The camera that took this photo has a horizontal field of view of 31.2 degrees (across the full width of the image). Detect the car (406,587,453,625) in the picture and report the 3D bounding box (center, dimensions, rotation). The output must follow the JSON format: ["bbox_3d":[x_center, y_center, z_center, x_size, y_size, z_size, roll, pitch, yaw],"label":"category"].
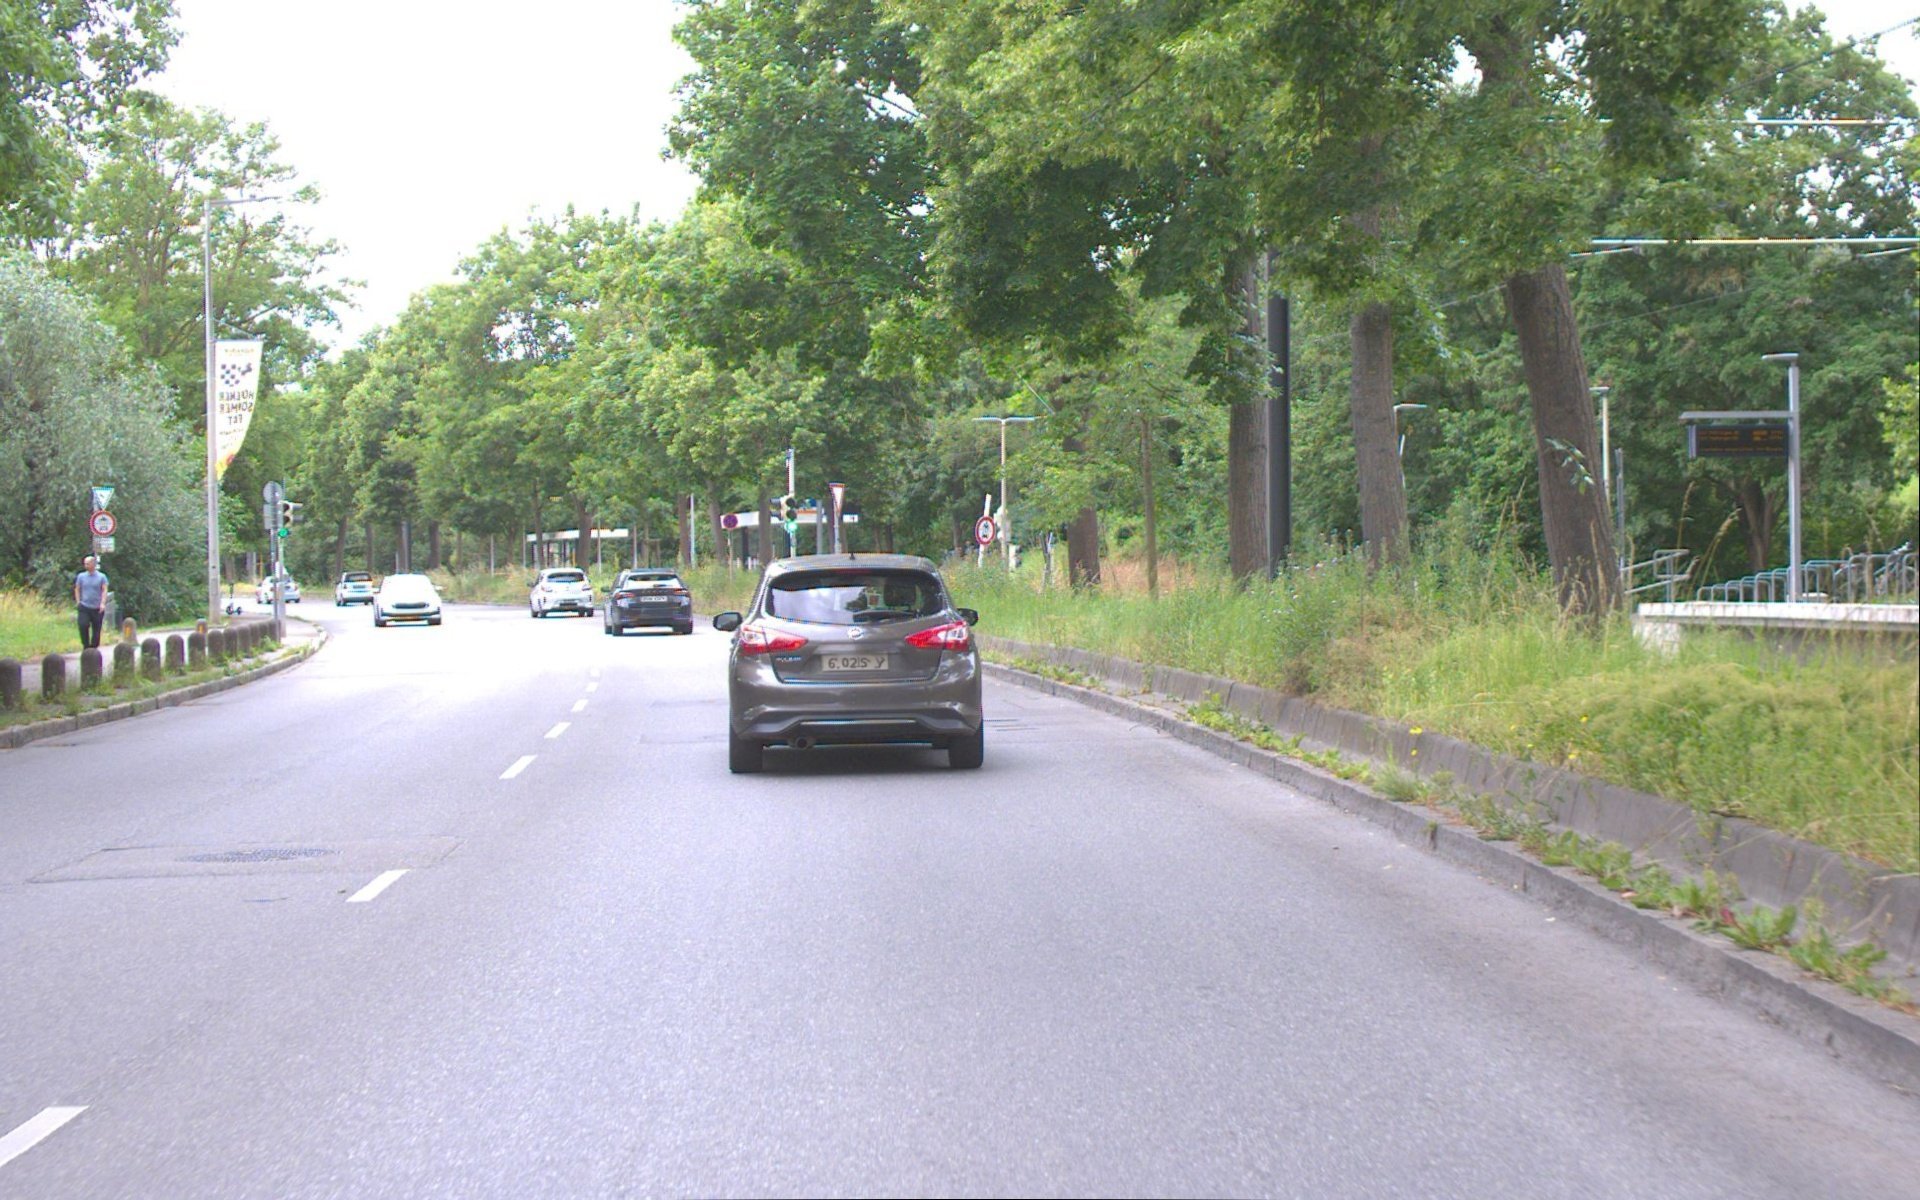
[{"bbox_3d":[-21.723,0.235,140.971,1.775,1.467,4.001,1,0,-7],"label":"car"}]

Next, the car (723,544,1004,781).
[{"bbox_3d":[-0.785,0.387,25.127,1.816,1.503,4.001,-2,2,-4],"label":"car"}]

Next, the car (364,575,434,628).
[{"bbox_3d":[-16.204,0.024,99.388,1.773,1.434,4.362,-2,1,-7],"label":"car"}]

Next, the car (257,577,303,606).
[{"bbox_3d":[-35.297,-0.443,178.409,1.775,1.467,4.001,1,0,-19],"label":"car"}]

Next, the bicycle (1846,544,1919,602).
[{"bbox_3d":[15.881,-0.450,58.428,1.508,0.970,0.450,1,0,-8],"label":"bicycle"}]

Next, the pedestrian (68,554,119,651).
[{"bbox_3d":[-14.631,0.038,58.053,0.689,1.628,0.838,1,0,-5],"label":"pedestrian"}]

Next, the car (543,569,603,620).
[{"bbox_3d":[-11.755,-0.184,104.373,1.775,1.467,4.001,1,0,-7],"label":"car"}]

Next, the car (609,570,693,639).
[{"bbox_3d":[-6.816,0.082,76.101,1.775,1.467,4.001,1,0,-4],"label":"car"}]

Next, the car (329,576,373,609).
[{"bbox_3d":[-27.893,-0.346,157.333,1.775,1.467,4.001,0,1,-13],"label":"car"}]
